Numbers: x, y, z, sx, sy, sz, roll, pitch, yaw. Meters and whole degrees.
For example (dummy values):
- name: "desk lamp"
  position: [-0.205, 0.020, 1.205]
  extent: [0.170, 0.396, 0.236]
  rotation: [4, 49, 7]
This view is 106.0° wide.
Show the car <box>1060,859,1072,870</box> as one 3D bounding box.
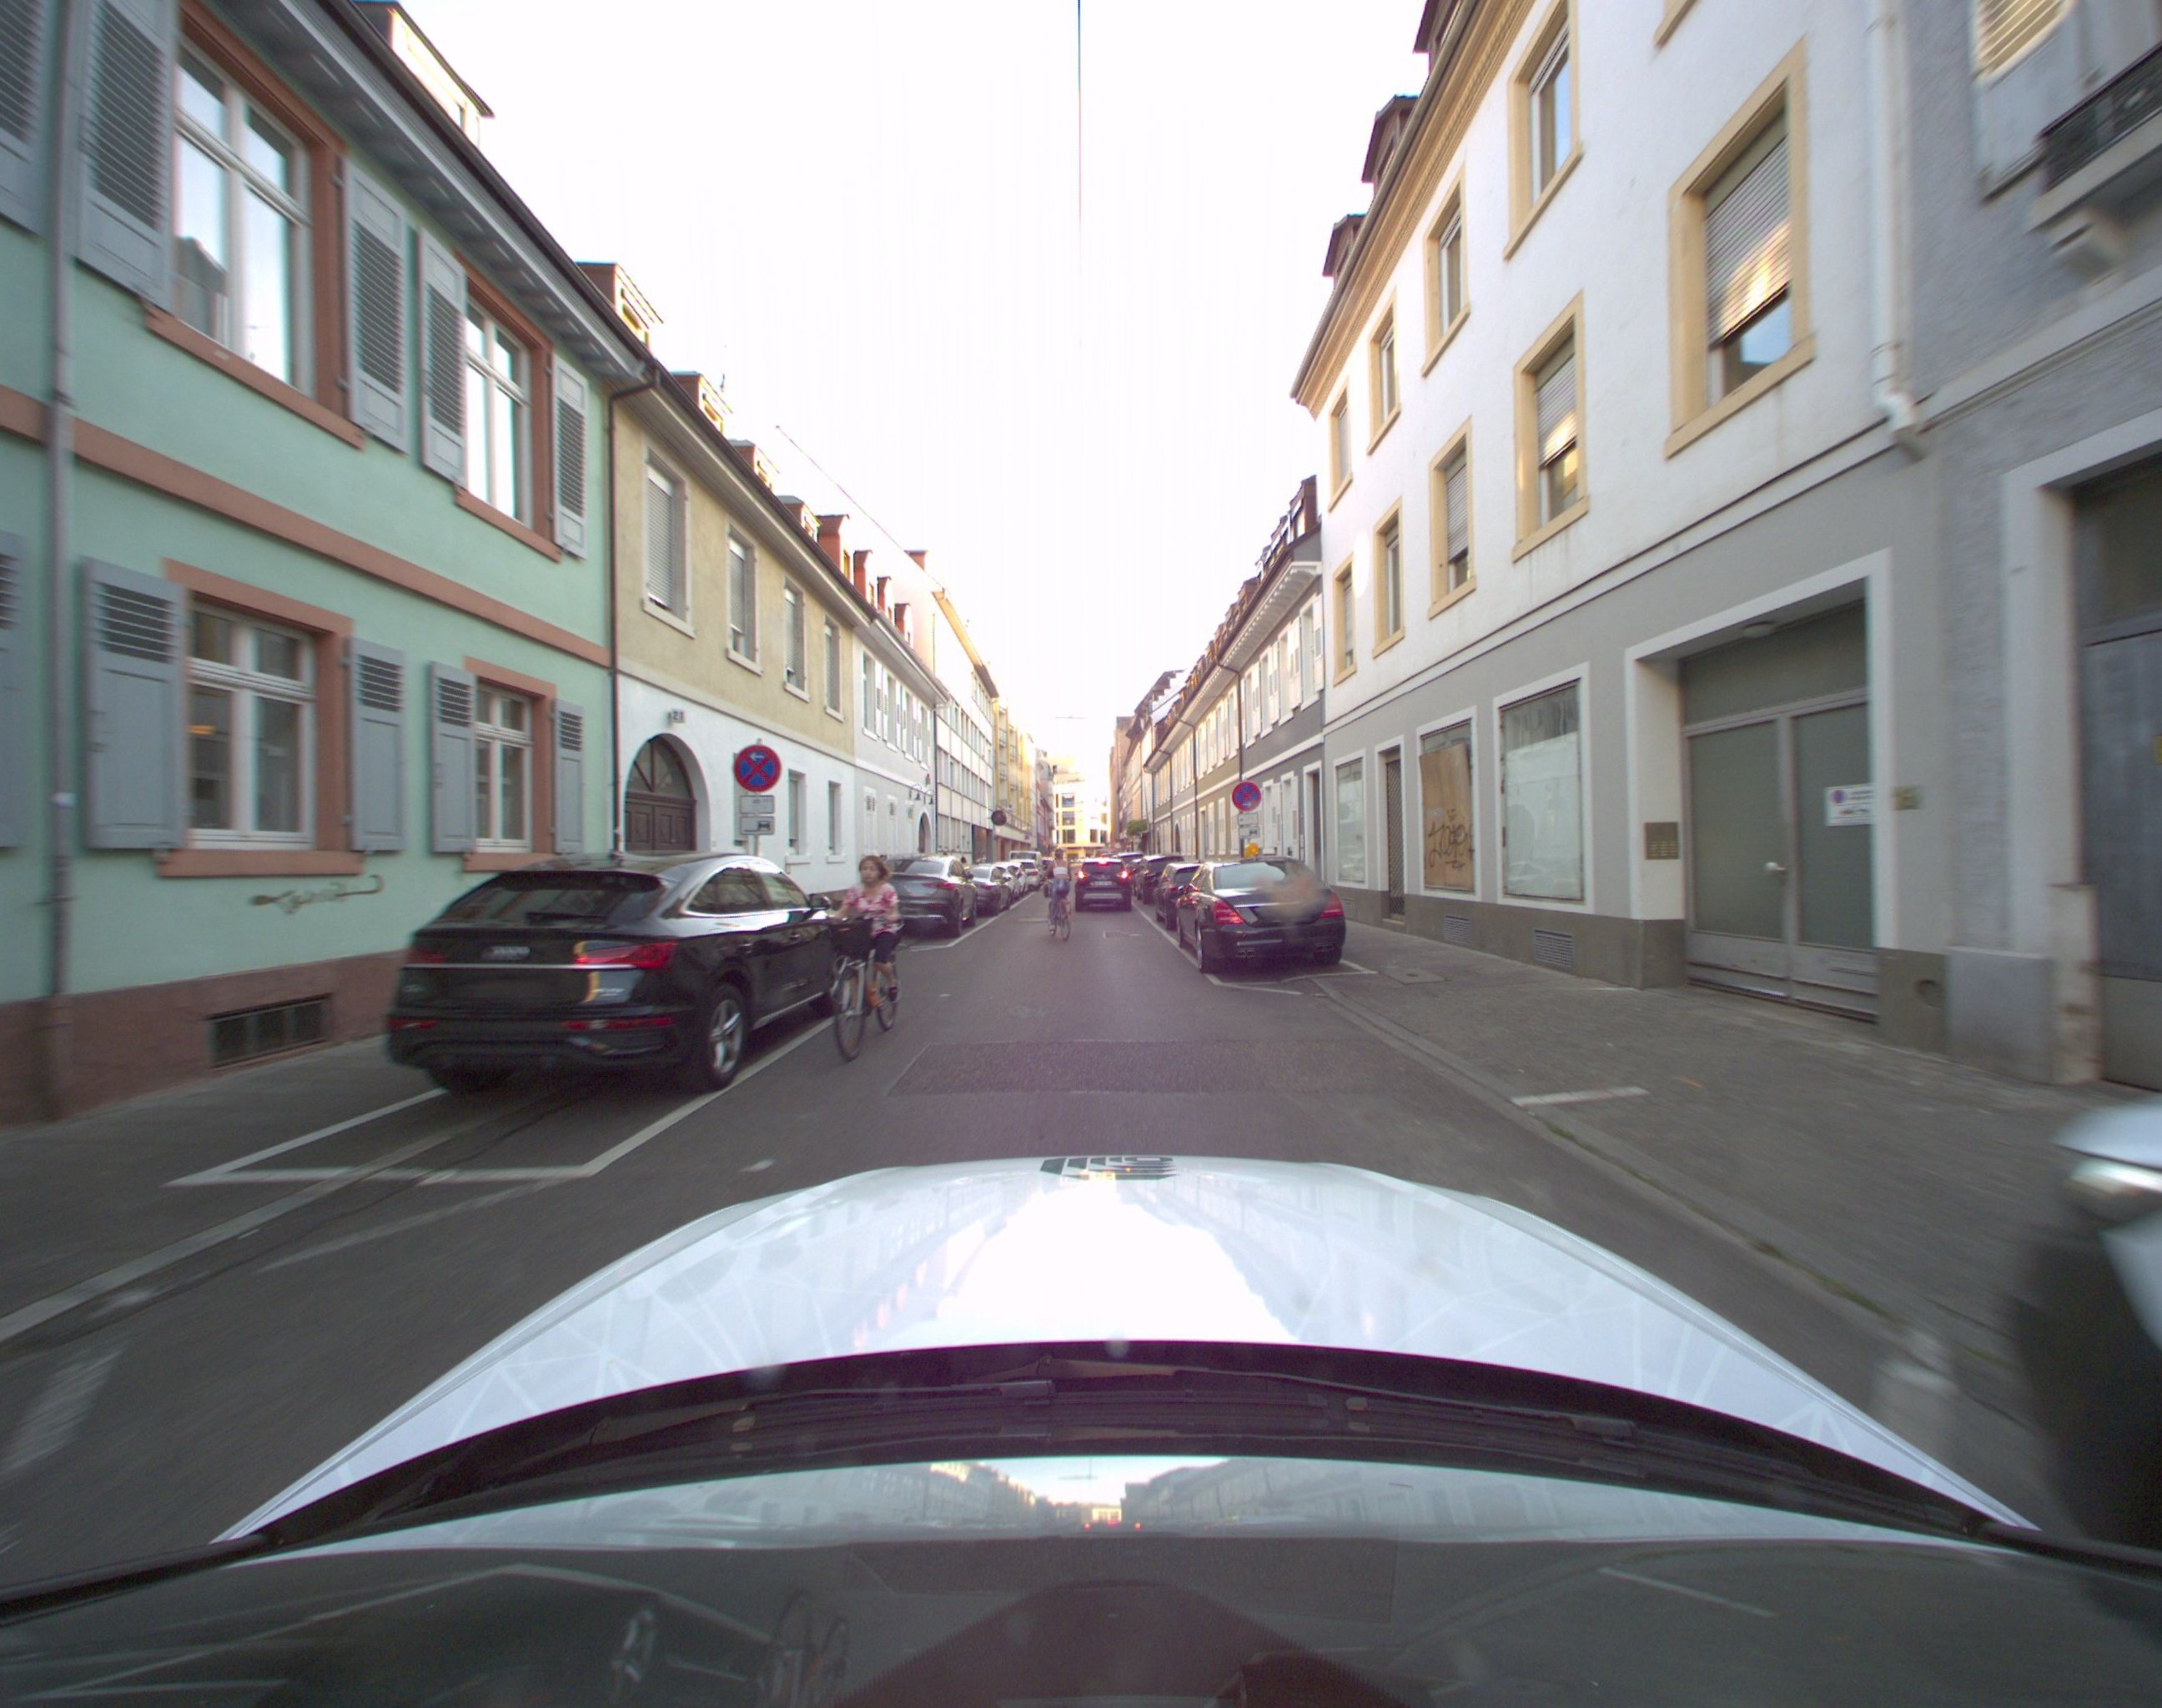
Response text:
- name: "car"
  position: [-2.104, 1.505, 115.611]
  extent: [1.648, 1.561, 3.605]
  rotation: [0, 0, 1]

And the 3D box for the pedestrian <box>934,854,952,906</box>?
- name: "pedestrian"
  position: [-5.360, 0.997, 31.632]
  extent: [0.608, 2.014, 0.449]
  rotation: [-1, -1, -3]

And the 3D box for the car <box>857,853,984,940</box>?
- name: "car"
  position: [-3.406, 0.843, 18.159]
  extent: [1.992, 1.707, 4.533]
  rotation: [0, 0, -1]

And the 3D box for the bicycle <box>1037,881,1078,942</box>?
- name: "bicycle"
  position: [-0.480, 1.102, 16.116]
  extent: [0.613, 1.082, 1.804]
  rotation: [-1, -1, -8]

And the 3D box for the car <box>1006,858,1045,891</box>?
- name: "car"
  position: [-2.766, 0.999, 40.946]
  extent: [1.648, 1.561, 3.605]
  rotation: [0, 0, 1]

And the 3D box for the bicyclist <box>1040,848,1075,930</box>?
- name: "bicyclist"
  position: [-0.474, 0.670, 16.015]
  extent: [0.620, 1.574, 0.682]
  rotation: [-1, -1, -8]

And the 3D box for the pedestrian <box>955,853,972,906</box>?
- name: "pedestrian"
  position: [-4.555, 0.987, 31.556]
  extent: [0.608, 2.014, 0.449]
  rotation: [-1, -1, -3]

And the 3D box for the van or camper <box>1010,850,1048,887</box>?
- name: "van or camper"
  position: [-2.949, 0.794, 46.795]
  extent: [1.838, 2.013, 4.678]
  rotation: [0, 0, 1]

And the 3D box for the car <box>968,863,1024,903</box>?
- name: "car"
  position: [-3.147, 1.043, 30.875]
  extent: [1.648, 1.411, 3.902]
  rotation: [0, 0, 1]

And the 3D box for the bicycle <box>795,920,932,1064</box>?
- name: "bicycle"
  position: [-1.797, 1.106, 7.029]
  extent: [0.611, 0.932, 1.887]
  rotation: [-1, -1, 2]

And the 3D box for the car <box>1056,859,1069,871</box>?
- name: "car"
  position: [-2.414, 1.454, 108.841]
  extent: [1.648, 1.561, 3.605]
  rotation: [0, 0, 1]

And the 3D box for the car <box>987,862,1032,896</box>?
- name: "car"
  position: [-3.101, 1.058, 35.965]
  extent: [1.648, 1.411, 3.605]
  rotation: [0, 0, 1]

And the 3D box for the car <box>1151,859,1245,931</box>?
- name: "car"
  position: [2.617, 0.872, 19.066]
  extent: [1.670, 1.486, 4.000]
  rotation: [0, 0, 0]

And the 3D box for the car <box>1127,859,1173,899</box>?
- name: "car"
  position: [2.831, 0.997, 33.917]
  extent: [1.648, 1.561, 3.605]
  rotation: [0, 0, 1]

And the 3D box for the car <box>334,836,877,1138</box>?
- name: "car"
  position: [-3.262, 0.766, 6.855]
  extent: [1.796, 1.677, 4.491]
  rotation: [-1, 0, 2]

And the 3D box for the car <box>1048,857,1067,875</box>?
- name: "car"
  position: [-2.114, 1.076, 74.472]
  extent: [1.648, 1.561, 3.605]
  rotation: [0, 0, 1]

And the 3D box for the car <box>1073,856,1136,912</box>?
- name: "car"
  position: [0.675, 0.869, 25.487]
  extent: [1.813, 1.618, 3.999]
  rotation: [0, 0, 0]

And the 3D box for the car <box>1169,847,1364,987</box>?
- name: "car"
  position: [2.488, 0.767, 12.253]
  extent: [1.813, 1.530, 5.073]
  rotation: [-5, -1, 2]

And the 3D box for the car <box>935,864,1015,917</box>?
- name: "car"
  position: [-3.098, 1.029, 24.595]
  extent: [1.912, 1.434, 4.291]
  rotation: [0, 0, -1]

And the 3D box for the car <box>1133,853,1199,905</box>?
- name: "car"
  position: [2.962, 0.853, 29.167]
  extent: [1.912, 1.738, 4.151]
  rotation: [0, 0, -1]

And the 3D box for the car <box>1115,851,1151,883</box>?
- name: "car"
  position: [2.633, 0.647, 41.509]
  extent: [1.648, 1.561, 3.605]
  rotation: [0, 0, 1]

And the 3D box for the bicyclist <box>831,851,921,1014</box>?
- name: "bicyclist"
  position: [-1.797, 0.668, 7.199]
  extent: [0.603, 1.369, 0.621]
  rotation: [-1, -1, 2]

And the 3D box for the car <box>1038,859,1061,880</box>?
- name: "car"
  position: [-2.441, 1.208, 63.471]
  extent: [1.648, 1.561, 3.605]
  rotation: [0, 0, 1]
